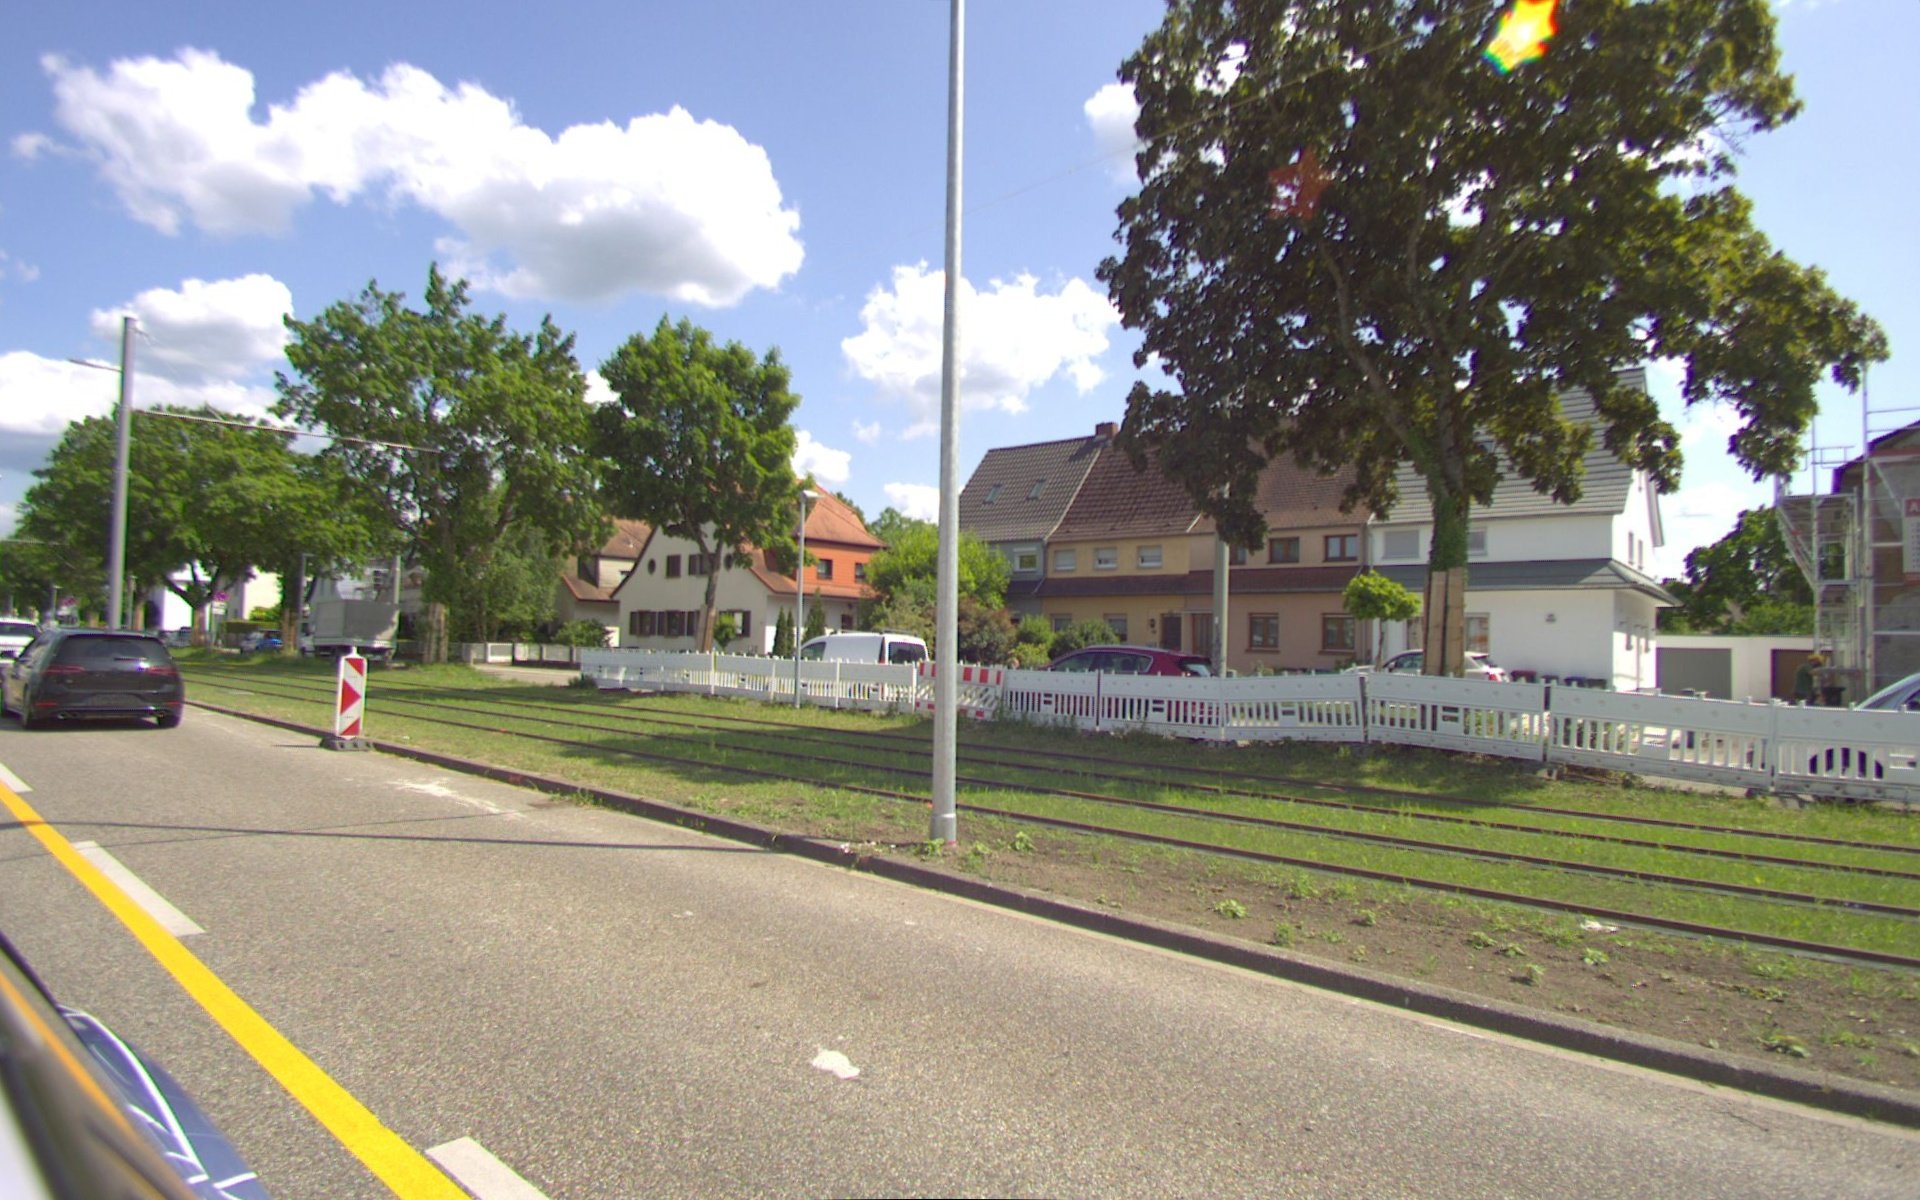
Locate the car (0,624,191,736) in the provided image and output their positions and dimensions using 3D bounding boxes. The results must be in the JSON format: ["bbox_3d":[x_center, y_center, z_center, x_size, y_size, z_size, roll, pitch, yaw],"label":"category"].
[{"bbox_3d":[-13.060,1.141,15.092,3.857,1.423,1.675,0,-5,41],"label":"car"}]

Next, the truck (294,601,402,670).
[{"bbox_3d":[-26.873,1.510,44.343,5.949,2.826,2.340,-1,-2,42],"label":"truck"}]

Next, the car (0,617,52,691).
[{"bbox_3d":[-23.512,1.237,24.393,4.460,1.679,1.805,0,-4,41],"label":"car"}]

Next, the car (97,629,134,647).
[{"bbox_3d":[-64.568,2.904,77.367,3.998,1.311,1.615,0,-2,42],"label":"car"}]

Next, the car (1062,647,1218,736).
[{"bbox_3d":[3.062,1.533,17.403,1.060,1.358,2.450,6,-5,-45],"label":"car"}]

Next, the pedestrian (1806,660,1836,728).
[{"bbox_3d":[18.205,1.972,21.399,0.471,1.387,0.418,-1,-2,41],"label":"pedestrian"}]

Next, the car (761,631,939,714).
[{"bbox_3d":[-2.520,1.580,22.622,3.999,1.638,1.635,0,-4,41],"label":"car"}]

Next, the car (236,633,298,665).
[{"bbox_3d":[-35.062,2.440,51.161,3.929,1.524,1.651,0,-2,41],"label":"car"}]

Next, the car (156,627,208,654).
[{"bbox_3d":[-48.330,2.490,62.842,4.522,1.524,1.685,0,-2,41],"label":"car"}]

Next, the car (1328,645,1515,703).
[{"bbox_3d":[11.797,1.878,26.027,4.119,1.285,1.517,0,-4,41],"label":"car"}]

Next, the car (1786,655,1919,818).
[{"bbox_3d":[11.196,1.488,10.598,3.897,1.664,1.605,0,-4,41],"label":"car"}]
